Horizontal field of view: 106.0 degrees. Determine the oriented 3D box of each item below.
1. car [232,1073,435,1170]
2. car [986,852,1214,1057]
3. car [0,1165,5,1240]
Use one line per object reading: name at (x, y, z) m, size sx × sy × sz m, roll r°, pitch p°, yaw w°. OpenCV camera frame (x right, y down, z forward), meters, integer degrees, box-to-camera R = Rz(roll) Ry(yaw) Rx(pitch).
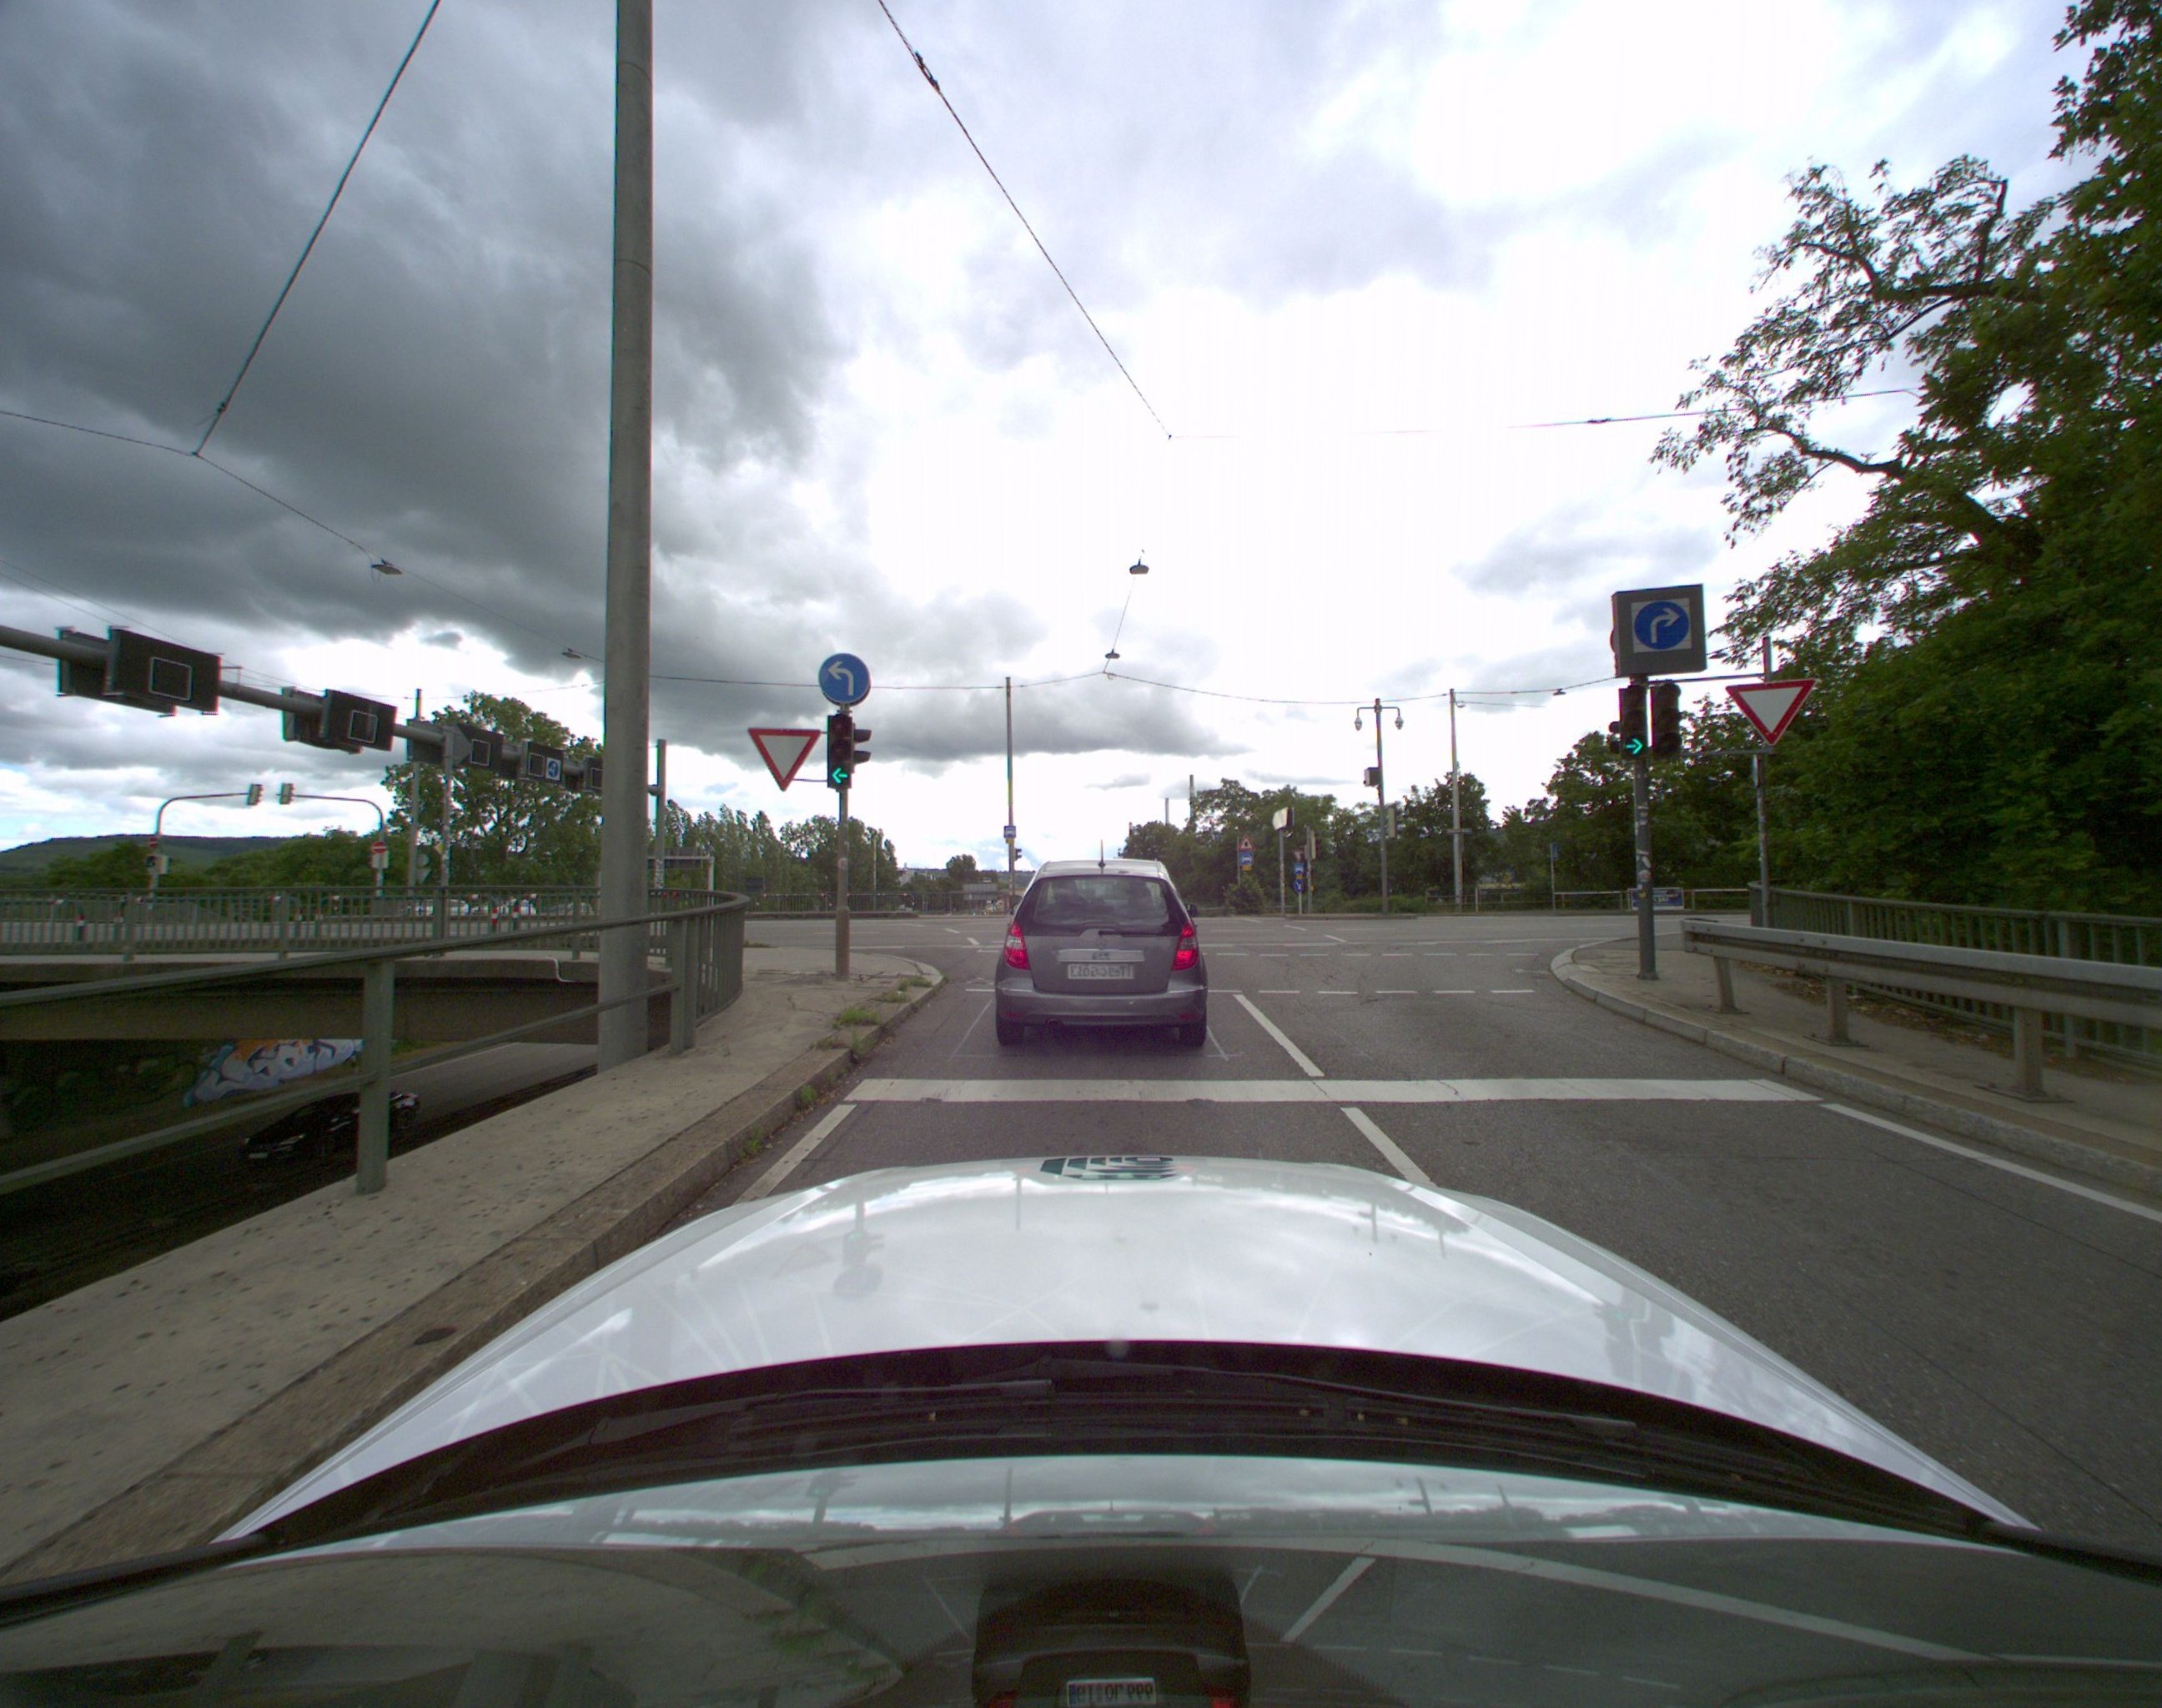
car at (-22.434, 7.993, 24.751) m, size 1.832 × 1.493 × 4.571 m, roll -4°, pitch -3°, yaw 2°
car at (0.205, 0.790, 8.017) m, size 1.733 × 1.543 × 3.542 m, roll -1°, pitch -1°, yaw 2°
car at (-24.978, 7.698, 16.028) m, size 1.815 × 1.611 × 4.297 m, roll -2°, pitch -3°, yaw 0°
